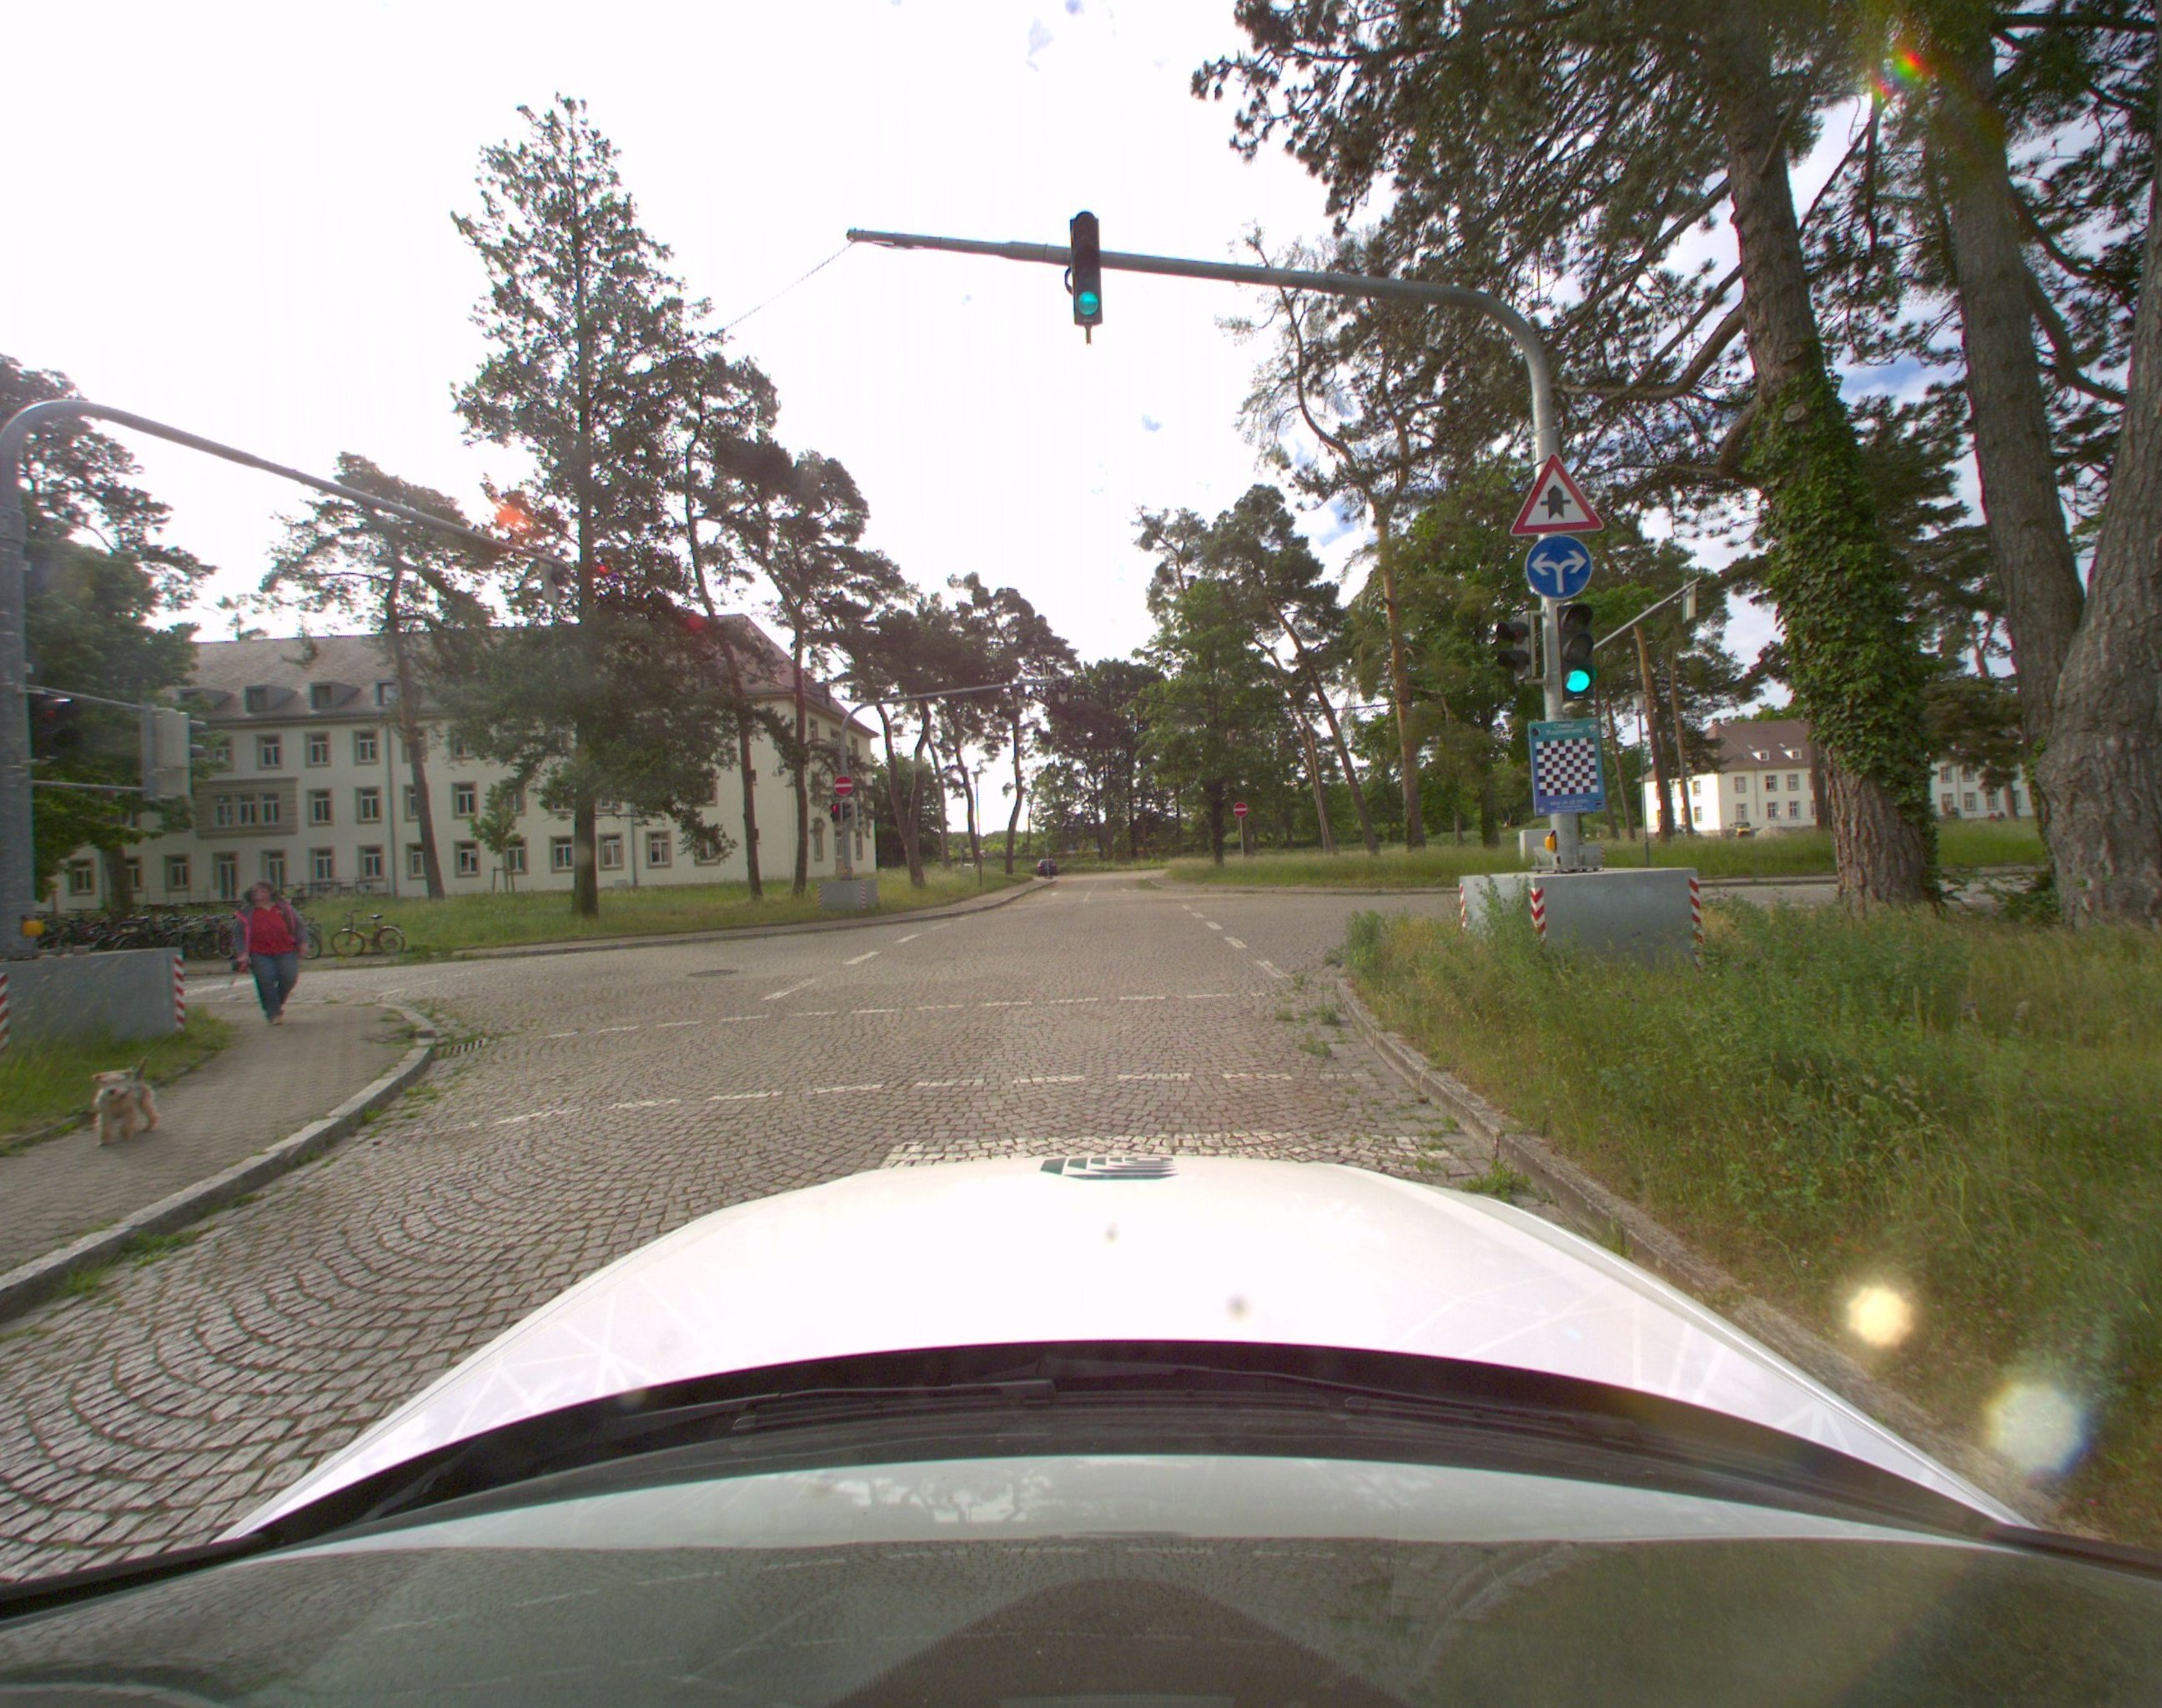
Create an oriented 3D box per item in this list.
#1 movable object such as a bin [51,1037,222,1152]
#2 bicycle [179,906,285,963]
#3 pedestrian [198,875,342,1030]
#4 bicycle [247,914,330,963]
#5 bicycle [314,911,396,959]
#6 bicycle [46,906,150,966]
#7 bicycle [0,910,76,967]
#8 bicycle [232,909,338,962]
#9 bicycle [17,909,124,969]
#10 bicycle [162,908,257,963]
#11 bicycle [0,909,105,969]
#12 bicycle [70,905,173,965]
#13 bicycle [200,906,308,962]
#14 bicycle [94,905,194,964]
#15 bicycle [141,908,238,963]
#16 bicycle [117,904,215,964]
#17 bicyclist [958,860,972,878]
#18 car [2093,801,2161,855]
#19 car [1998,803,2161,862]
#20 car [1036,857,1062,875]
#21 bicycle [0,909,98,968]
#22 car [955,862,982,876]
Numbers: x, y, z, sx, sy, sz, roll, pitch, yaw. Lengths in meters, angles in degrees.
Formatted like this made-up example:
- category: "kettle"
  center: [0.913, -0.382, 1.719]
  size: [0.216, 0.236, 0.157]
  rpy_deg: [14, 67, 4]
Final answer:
- category: "movable object such as a bin"
  center: [-6.212, 1.564, 5.394]
  size: [0.445, 0.503, 0.746]
  rpy_deg: [-3, 0, -24]
- category: "bicycle"
  center: [-20.865, 1.950, 20.074]
  size: [0.525, 1.178, 1.930]
  rpy_deg: [-3, 0, 1]
- category: "pedestrian"
  center: [-9.521, 1.114, 9.580]
  size: [0.851, 1.668, 0.946]
  rpy_deg: [-3, 0, 29]
- category: "bicycle"
  center: [-18.098, 1.929, 18.607]
  size: [1.453, 0.996, 0.453]
  rpy_deg: [-3, 0, 2]
- category: "bicycle"
  center: [-16.575, 1.845, 18.600]
  size: [1.453, 0.996, 0.453]
  rpy_deg: [-3, 0, 2]
- category: "bicycle"
  center: [-24.159, 1.986, 20.057]
  size: [0.447, 1.283, 1.696]
  rpy_deg: [-3, 0, 1]
- category: "bicycle"
  center: [-26.239, 2.096, 20.123]
  size: [0.447, 1.283, 1.828]
  rpy_deg: [-3, 0, 1]
- category: "bicycle"
  center: [-19.584, 1.981, 20.099]
  size: [0.573, 1.078, 1.997]
  rpy_deg: [-3, 0, 1]
- category: "bicycle"
  center: [-24.822, 2.057, 20.043]
  size: [0.447, 1.283, 1.696]
  rpy_deg: [-3, 0, 1]
- category: "bicycle"
  center: [-21.378, 1.976, 20.027]
  size: [0.447, 1.178, 1.696]
  rpy_deg: [-3, 0, 1]
- category: "bicycle"
  center: [-25.309, 2.070, 20.040]
  size: [0.447, 1.283, 1.696]
  rpy_deg: [-3, 0, 1]
- category: "bicycle"
  center: [-23.596, 1.971, 20.070]
  size: [0.447, 1.283, 1.696]
  rpy_deg: [-3, 0, 1]
- category: "bicycle"
  center: [-20.283, 1.934, 20.034]
  size: [0.573, 1.178, 1.954]
  rpy_deg: [-3, 0, 1]
- category: "bicycle"
  center: [-23.081, 1.957, 20.104]
  size: [0.447, 1.283, 1.696]
  rpy_deg: [-3, 0, 1]
- category: "bicycle"
  center: [-21.864, 1.976, 20.016]
  size: [0.447, 1.178, 1.696]
  rpy_deg: [-3, 0, 1]
- category: "bicycle"
  center: [-22.575, 1.944, 20.136]
  size: [0.447, 1.283, 1.696]
  rpy_deg: [-3, 0, 1]
- category: "bicyclist"
  center: [-9.681, 1.251, 68.024]
  size: [0.972, 1.510, 0.807]
  rpy_deg: [-3, 0, -1]
- category: "car"
  center: [31.476, -0.774, 22.362]
  size: [1.748, 1.524, 4.444]
  rpy_deg: [-3, 0, -2]
- category: "car"
  center: [29.064, -0.610, 22.857]
  size: [1.745, 1.524, 4.452]
  rpy_deg: [-3, 0, 3]
- category: "car"
  center: [-2.946, 1.086, 75.593]
  size: [1.985, 1.508, 4.003]
  rpy_deg: [-1, 0, 3]
- category: "bicycle"
  center: [-25.772, 2.084, 20.247]
  size: [0.441, 1.283, 1.785]
  rpy_deg: [-3, 0, 1]
- category: "car"
  center: [-10.575, 1.427, 76.794]
  size: [1.682, 1.156, 4.003]
  rpy_deg: [-3, 0, 3]
